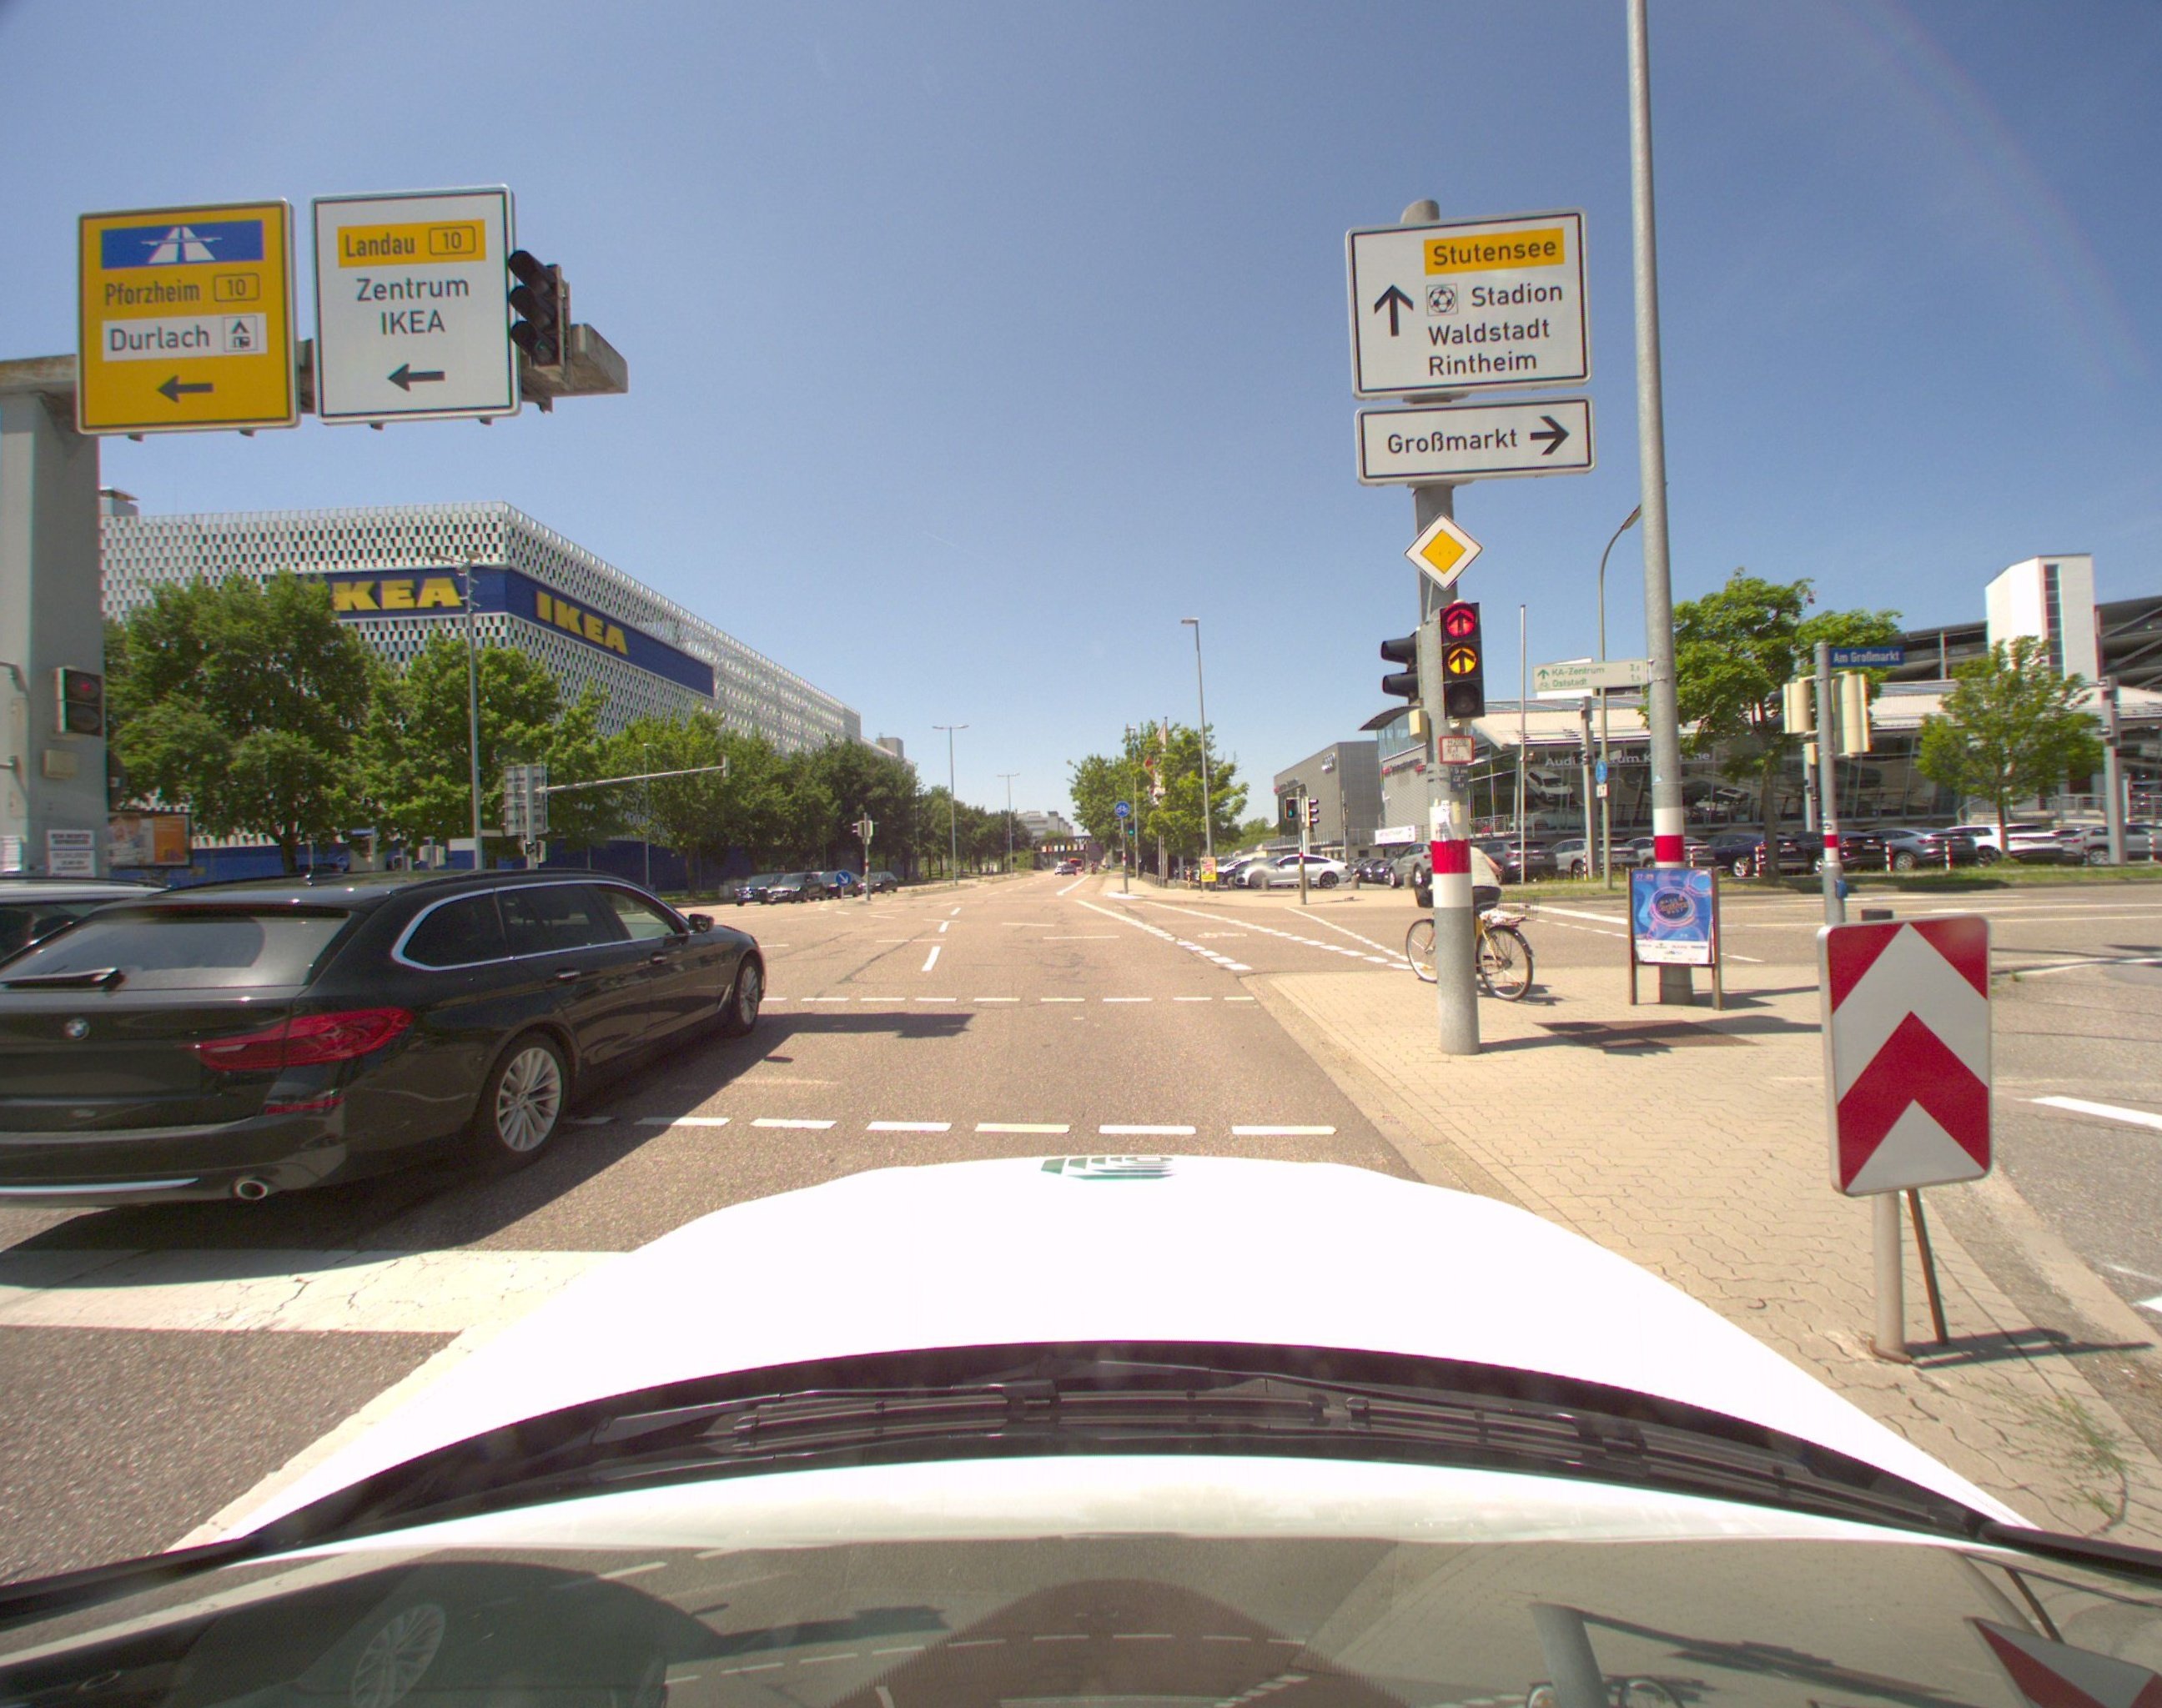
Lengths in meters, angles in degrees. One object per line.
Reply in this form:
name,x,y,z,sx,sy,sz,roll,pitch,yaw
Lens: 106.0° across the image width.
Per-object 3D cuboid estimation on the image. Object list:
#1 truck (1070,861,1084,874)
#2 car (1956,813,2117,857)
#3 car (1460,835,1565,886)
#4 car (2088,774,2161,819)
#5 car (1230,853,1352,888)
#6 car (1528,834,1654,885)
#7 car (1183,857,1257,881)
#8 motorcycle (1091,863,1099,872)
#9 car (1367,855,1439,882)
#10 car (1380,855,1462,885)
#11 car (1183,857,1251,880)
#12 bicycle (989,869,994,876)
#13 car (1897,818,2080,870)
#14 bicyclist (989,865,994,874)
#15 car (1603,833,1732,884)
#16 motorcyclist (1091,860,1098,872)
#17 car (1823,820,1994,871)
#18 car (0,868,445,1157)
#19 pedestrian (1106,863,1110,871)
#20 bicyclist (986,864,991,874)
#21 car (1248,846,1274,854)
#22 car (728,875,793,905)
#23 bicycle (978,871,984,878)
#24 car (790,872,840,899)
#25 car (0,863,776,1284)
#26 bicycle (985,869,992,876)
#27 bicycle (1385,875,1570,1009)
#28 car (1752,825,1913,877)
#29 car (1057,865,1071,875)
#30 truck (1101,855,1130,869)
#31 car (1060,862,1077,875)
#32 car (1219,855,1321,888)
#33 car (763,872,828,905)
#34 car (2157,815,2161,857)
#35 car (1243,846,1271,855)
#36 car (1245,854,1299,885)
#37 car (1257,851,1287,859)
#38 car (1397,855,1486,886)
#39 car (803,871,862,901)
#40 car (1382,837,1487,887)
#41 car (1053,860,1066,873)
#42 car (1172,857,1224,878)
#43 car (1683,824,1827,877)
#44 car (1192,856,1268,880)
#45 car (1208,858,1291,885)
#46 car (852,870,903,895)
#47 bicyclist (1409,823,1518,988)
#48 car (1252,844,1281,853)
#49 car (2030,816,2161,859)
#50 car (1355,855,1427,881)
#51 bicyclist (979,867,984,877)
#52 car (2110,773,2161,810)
truck,-0.800,2.643,157.711,2.449,2.410,7.136,0,0,2
car,39.864,-0.771,34.131,3.947,1.571,1.862,-3,-1,31
car,15.070,0.226,28.689,1.836,1.654,4.003,0,-1,5
car,45.675,-2.475,34.014,4.552,1.707,1.916,-2,-1,4
car,8.479,0.666,33.194,4.572,1.390,1.871,0,-1,3
car,17.840,0.202,28.711,1.840,1.654,3.994,0,-1,-2
car,8.399,0.918,49.325,4.210,1.390,1.869,0,-1,1
motorcycle,1.780,1.731,106.132,0.716,1.105,1.825,-1,-1,-8
car,19.131,0.861,48.505,3.634,1.580,1.643,0,-1,1
car,19.133,0.886,45.990,3.970,1.622,1.657,0,-1,1
car,8.660,0.927,52.176,4.085,1.405,1.869,0,-1,1
bicycle,-16.581,3.426,151.328,0.627,1.159,2.118,-4,-1,1
car,31.194,-0.294,28.189,1.840,1.654,3.994,0,-1,-2
bicyclist,-16.614,2.930,151.264,0.631,1.629,1.045,-4,-1,1
car,20.255,0.141,28.341,1.632,1.616,3.815,-1,1,-2
motorcyclist,1.774,1.520,106.186,0.719,1.529,0.868,0,-1,-8
car,28.542,-0.249,28.293,1.840,1.654,3.994,0,-1,-2
car,-6.346,0.850,4.909,1.685,1.422,4.013,-1,0,3
pedestrian,4.746,2.212,142.524,0.621,1.374,0.564,-2,-1,0
bicyclist,-16.065,2.671,141.229,0.742,1.686,0.952,-2,-1,0
car,27.451,-0.593,124.395,3.515,1.239,1.675,0,-1,-3
car,-16.813,1.875,42.927,1.654,1.424,4.039,-3,-1,2
bicycle,-17.088,3.514,139.290,0.634,1.134,1.972,-2,-1,3
car,-16.670,1.936,51.181,1.720,1.544,3.916,-3,-1,2
car,-3.647,0.808,5.171,1.793,1.440,4.553,-1,0,-2
bicycle,-16.044,3.220,141.277,0.737,1.125,2.434,-2,-1,0
bicycle,3.943,0.812,8.289,0.628,1.133,1.886,-2,0,-13
car,25.915,-0.077,28.302,1.840,1.654,3.994,0,-1,-2
car,-2.568,2.382,122.619,1.917,1.420,4.000,-2,-1,1
truck,7.351,1.682,171.731,5.628,2.850,2.600,0,-1,-28
car,-1.507,1.768,100.183,1.894,1.376,4.232,-2,-1,1
car,8.233,0.748,35.671,4.081,1.390,1.869,0,-1,1
car,-13.703,1.638,39.299,1.637,1.389,3.717,-4,-1,2
car,39.528,-0.740,26.820,4.558,1.471,1.861,-3,0,26
car,27.887,-0.550,128.867,3.977,1.312,1.795,0,-1,-3
car,9.225,0.731,39.656,1.855,1.420,4.667,0,-1,4
car,27.002,0.150,115.136,3.716,1.130,1.682,0,-1,-3
car,19.189,0.877,43.428,3.970,1.598,1.851,0,-1,1
car,-13.770,1.747,45.414,1.720,1.505,4.245,-4,-1,2
car,12.410,0.331,28.928,1.860,1.558,4.506,-3,-2,3
car,-3.665,2.071,137.776,1.986,2.014,4.000,-2,-1,1
car,8.592,0.989,60.163,3.668,1.453,1.834,0,-1,1
car,23.141,-0.096,28.154,1.624,1.654,3.907,-1,-1,-2
car,8.459,0.802,46.478,4.084,1.349,1.869,0,-1,1
car,8.975,0.929,43.614,4.081,1.364,1.875,0,-1,1
car,-13.354,1.816,53.728,1.718,1.446,4.725,-4,-1,4
bicyclist,3.914,0.501,8.379,0.628,1.606,0.822,0,-1,-13
car,27.471,-0.864,120.545,3.930,1.211,1.715,-1,-1,-3
car,39.593,-0.645,30.696,4.531,1.471,1.925,-3,-1,26
car,19.439,0.861,51.141,3.967,1.573,1.634,0,-1,1
bicyclist,-17.095,3.078,139.372,0.634,1.582,0.885,-2,-1,2
car,53.523,-3.133,39.455,1.905,1.722,4.142,-2,0,-5
